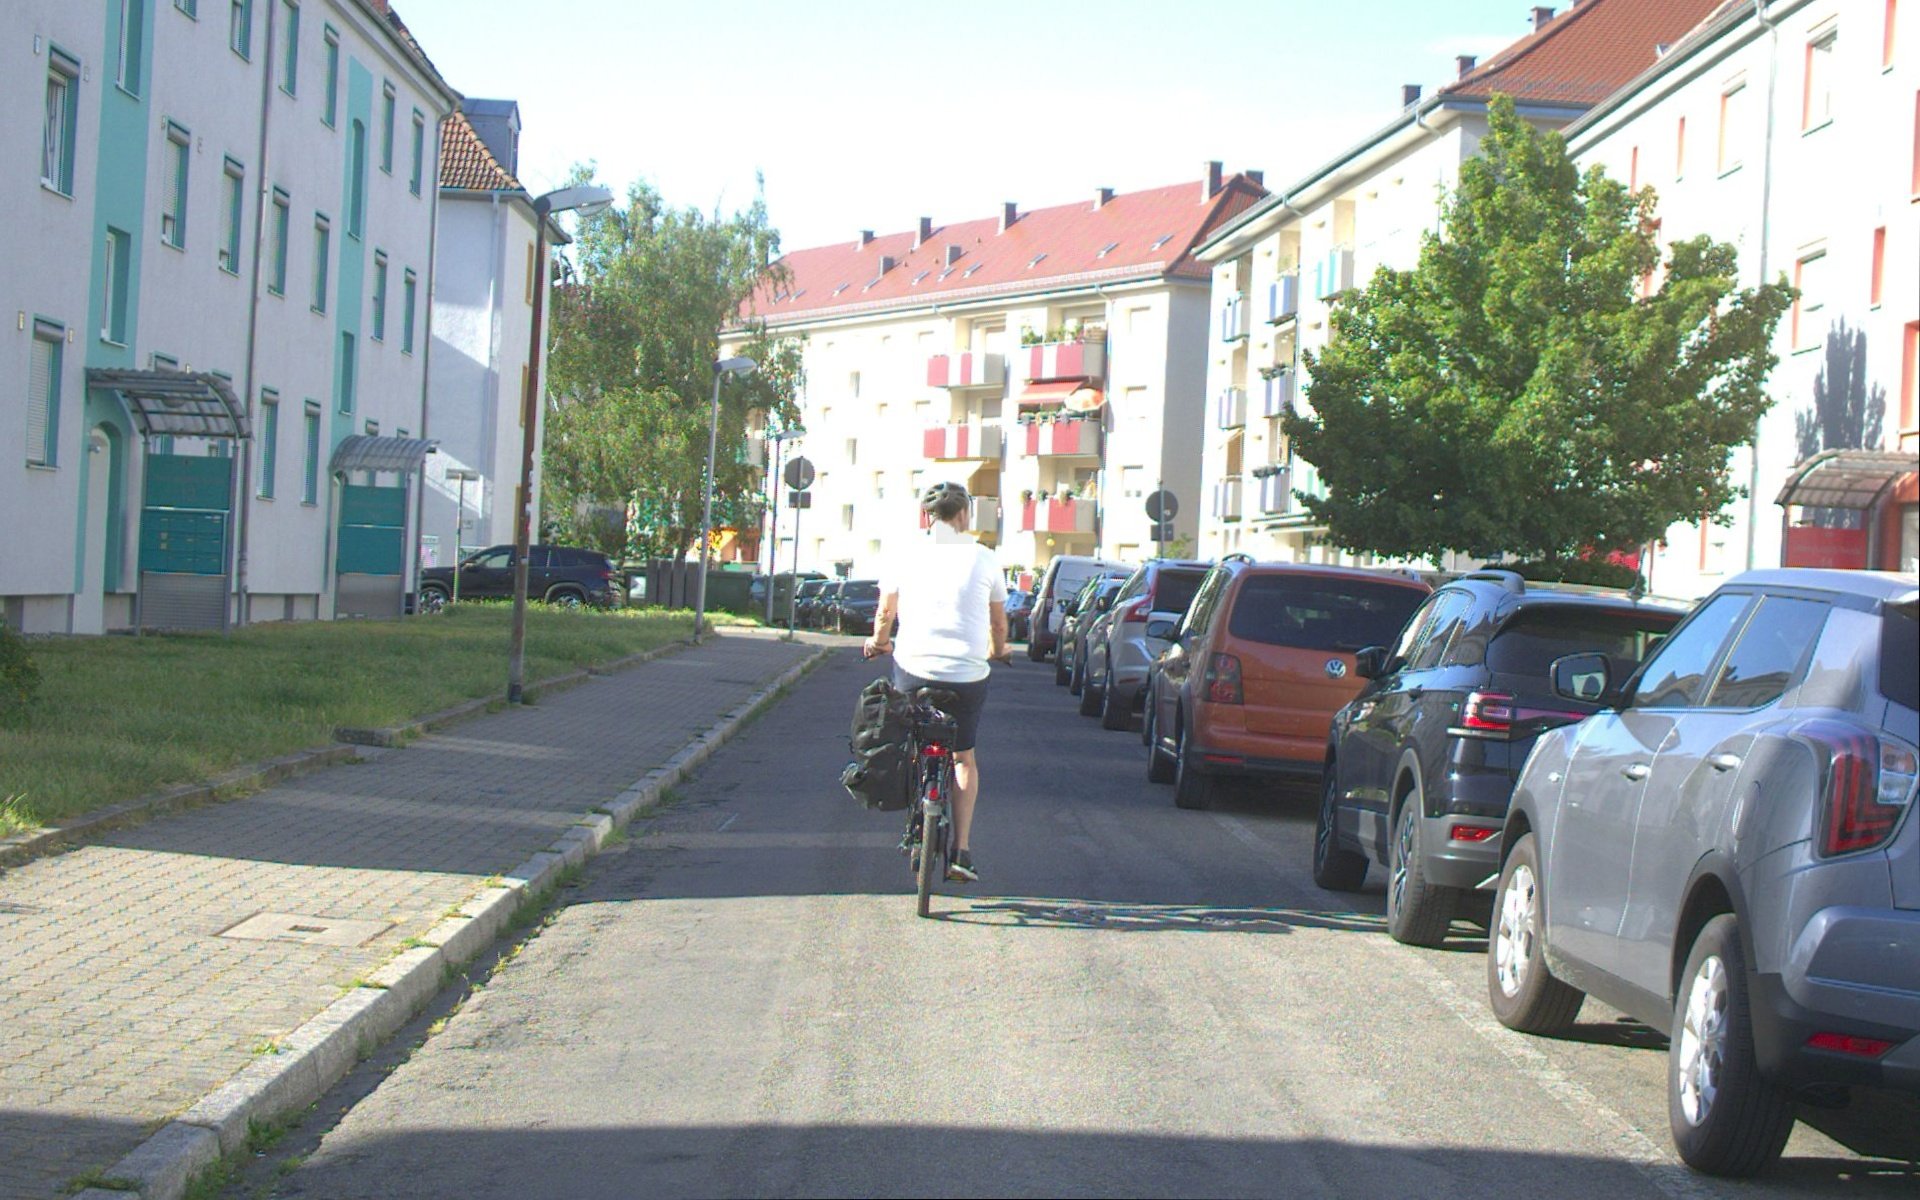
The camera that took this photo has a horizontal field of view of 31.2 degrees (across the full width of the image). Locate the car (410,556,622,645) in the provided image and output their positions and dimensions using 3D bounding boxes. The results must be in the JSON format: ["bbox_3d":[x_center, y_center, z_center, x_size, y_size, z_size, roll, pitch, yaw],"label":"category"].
[{"bbox_3d":[-9.202,0.007,71.510,4.231,1.633,1.583,3,0,-4],"label":"car"}]

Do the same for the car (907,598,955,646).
[{"bbox_3d":[-1.019,0.758,119.407,1.469,1.511,3.077,4,0,-3],"label":"car"}]

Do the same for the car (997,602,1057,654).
[{"bbox_3d":[1.936,0.803,99.841,1.469,1.331,3.141,4,0,-3],"label":"car"}]

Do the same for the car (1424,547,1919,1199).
[{"bbox_3d":[2.692,0.740,10.025,1.750,1.612,4.452,5,0,-3],"label":"car"}]

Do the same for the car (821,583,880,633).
[{"bbox_3d":[-3.039,0.220,94.644,1.469,1.331,3.141,-1,0,-4],"label":"car"}]

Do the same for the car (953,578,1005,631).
[{"bbox_3d":[0.576,0.132,106.666,1.381,1.492,3.077,4,0,-3],"label":"car"}]

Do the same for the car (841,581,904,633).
[{"bbox_3d":[-2.312,0.173,90.274,1.469,1.331,3.141,0,0,-5],"label":"car"}]

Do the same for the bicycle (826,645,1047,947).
[{"bbox_3d":[-0.133,0.789,14.639,0.808,1.124,2.102,2,0,-3],"label":"bicycle"}]

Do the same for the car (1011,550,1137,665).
[{"bbox_3d":[1.859,0.103,57.226,1.674,1.733,3.943,4,0,-3],"label":"car"}]

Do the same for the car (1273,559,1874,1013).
[{"bbox_3d":[2.570,0.700,15.474,1.712,1.590,4.398,6,0,-1],"label":"car"}]

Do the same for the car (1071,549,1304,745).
[{"bbox_3d":[2.159,0.407,33.722,1.700,1.665,4.380,5,0,-2],"label":"car"}]

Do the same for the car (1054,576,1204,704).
[{"bbox_3d":[2.070,0.462,42.978,1.559,1.406,3.933,4,0,-1],"label":"car"}]

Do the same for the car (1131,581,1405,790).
[{"bbox_3d":[2.486,0.656,28.594,1.618,1.455,3.841,6,0,-3],"label":"car"}]

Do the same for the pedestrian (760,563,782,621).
[{"bbox_3d":[-4.753,-0.195,86.373,0.434,1.422,0.543,3,0,-1],"label":"pedestrian"}]

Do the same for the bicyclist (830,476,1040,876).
[{"bbox_3d":[-0.120,0.314,14.767,0.808,1.638,0.899,2,0,-3],"label":"bicyclist"}]

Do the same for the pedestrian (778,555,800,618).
[{"bbox_3d":[-4.294,-0.336,86.444,0.434,1.569,0.543,3,0,-1],"label":"pedestrian"}]

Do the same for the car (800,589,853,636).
[{"bbox_3d":[-3.948,0.355,101.305,1.469,1.331,3.141,0,0,-3],"label":"car"}]

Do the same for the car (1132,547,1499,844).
[{"bbox_3d":[2.277,0.577,23.099,1.862,1.662,4.127,5,0,-1],"label":"car"}]
